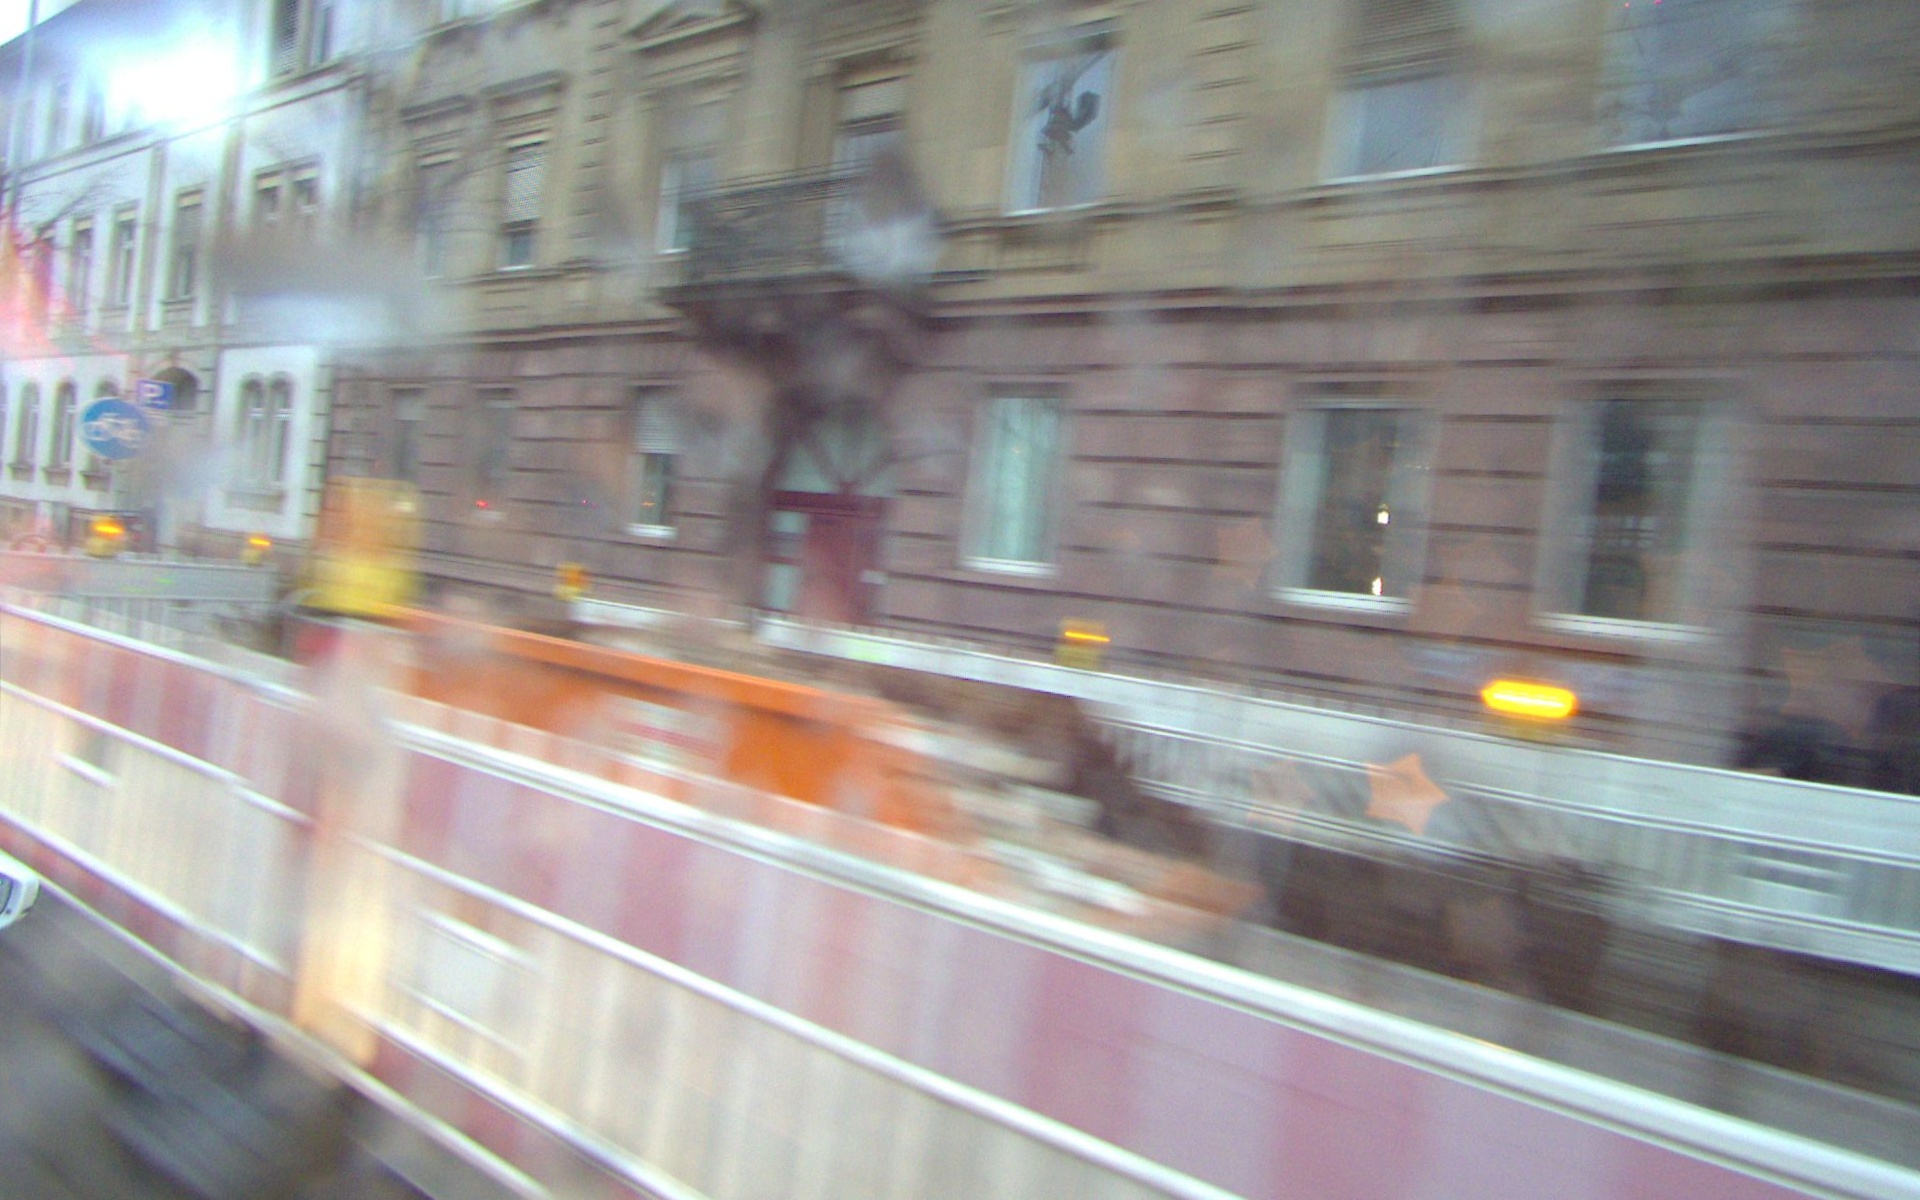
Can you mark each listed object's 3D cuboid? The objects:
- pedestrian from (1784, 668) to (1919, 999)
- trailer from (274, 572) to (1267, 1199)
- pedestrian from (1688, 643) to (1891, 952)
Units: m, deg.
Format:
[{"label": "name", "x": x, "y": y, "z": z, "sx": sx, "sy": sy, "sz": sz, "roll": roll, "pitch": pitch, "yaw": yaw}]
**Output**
[{"label": "pedestrian", "x": 5.106, "y": 1.238, "z": 5.512, "sx": 0.640, "sy": 1.643, "sz": 0.710, "roll": 7, "pitch": 3, "yaw": 31}, {"label": "trailer", "x": -0.824, "y": 0.805, "z": 4.035, "sx": 3.470, "sy": 1.362, "sz": 1.853, "roll": 7, "pitch": 0, "yaw": 32}, {"label": "pedestrian", "x": 5.157, "y": 1.176, "z": 6.316, "sx": 0.715, "sy": 1.733, "sz": 0.641, "roll": 7, "pitch": 3, "yaw": 31}]
